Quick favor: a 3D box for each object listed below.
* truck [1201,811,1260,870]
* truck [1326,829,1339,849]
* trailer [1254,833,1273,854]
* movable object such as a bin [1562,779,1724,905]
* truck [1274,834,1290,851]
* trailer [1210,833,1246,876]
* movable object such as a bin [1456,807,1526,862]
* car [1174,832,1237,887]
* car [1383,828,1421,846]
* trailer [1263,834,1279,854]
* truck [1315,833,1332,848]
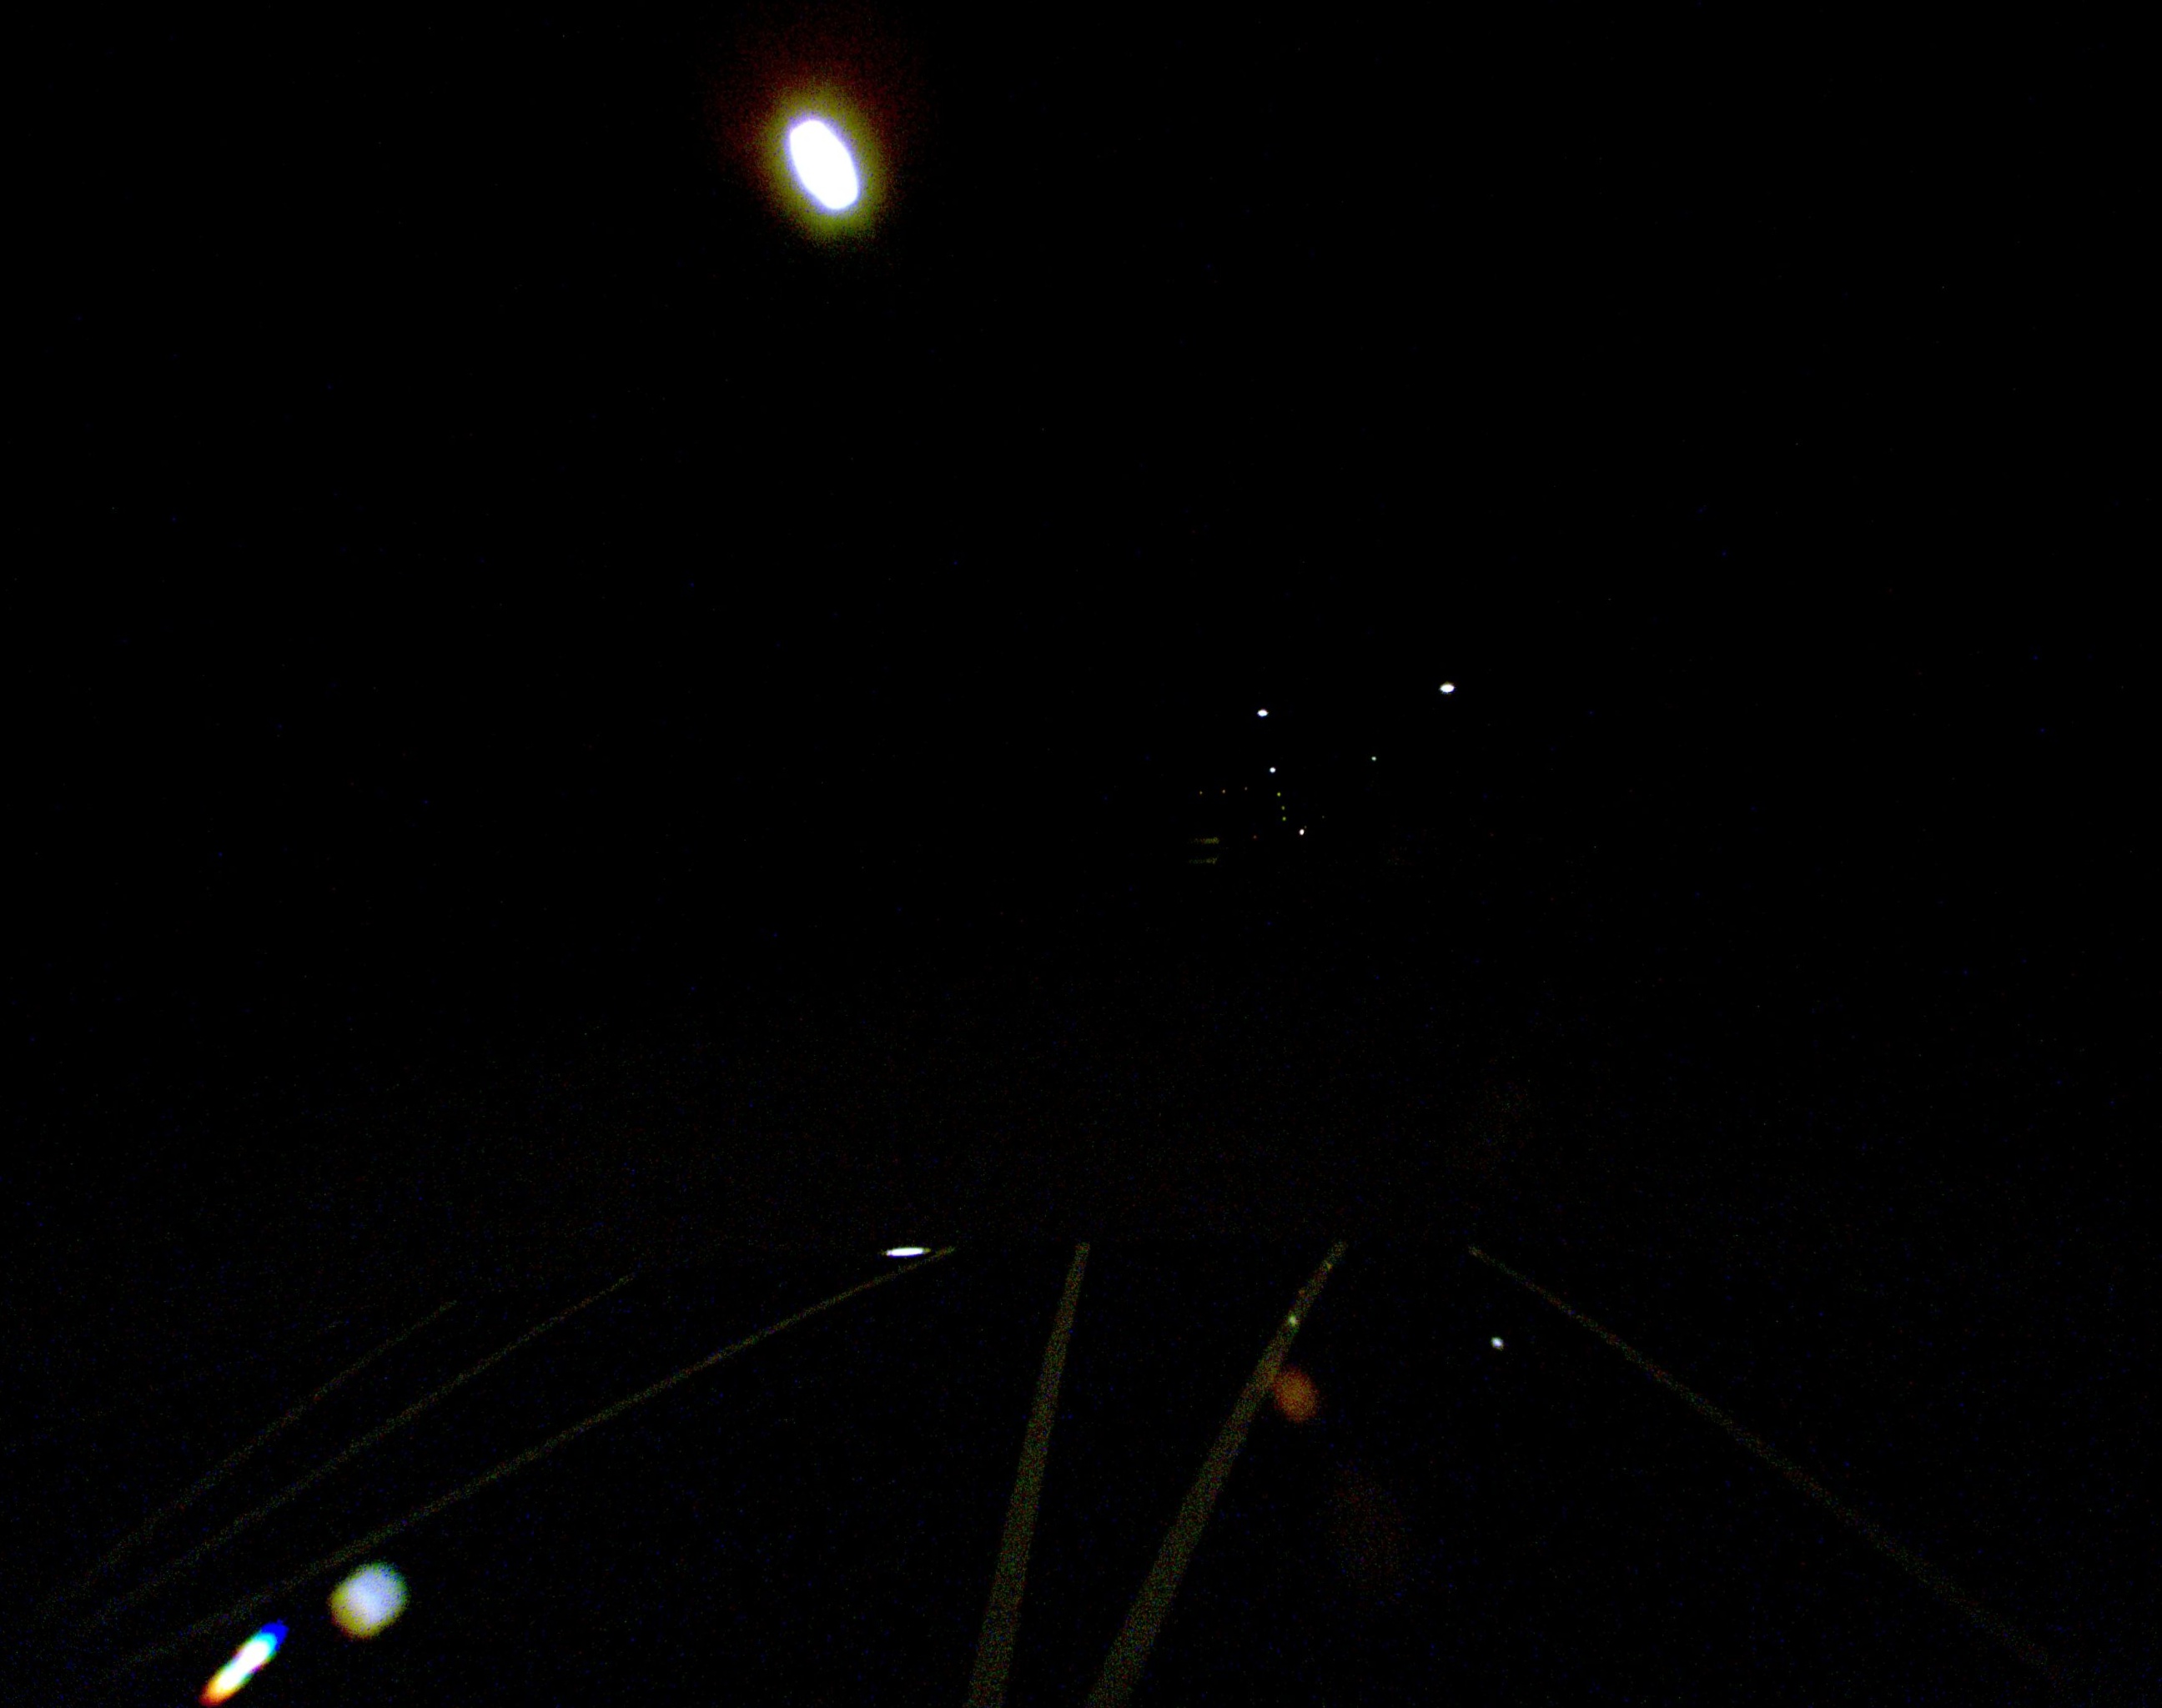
[{"bbox_3d":[11.385,-0.990,56.880,3.329,3.845,9.337,-5,0,16],"label":"truck"},{"bbox_3d":[58.464,-3.497,176.895,2.641,4.290,12.838,-2,1,18],"label":"truck"},{"bbox_3d":[24.872,-1.485,103.382,1.996,2.635,4.005,-5,-1,19],"label":"trailer"},{"bbox_3d":[13.422,-0.239,18.424,1.573,2.718,3.704,-1,0,9],"label":"movable object such as a bin"},{"bbox_3d":[49.389,-2.781,186.424,2.513,3.814,12.675,-5,-1,20],"label":"truck"},{"bbox_3d":[9.406,0.039,48.435,1.634,2.459,5.033,-5,-1,16],"label":"trailer"},{"bbox_3d":[19.271,-0.889,35.823,1.553,2.453,2.838,-3,1,-5],"label":"movable object such as a bin"},{"bbox_3d":[6.665,0.257,39.891,2.111,2.501,6.379,-5,-1,18],"label":"car"},{"bbox_3d":[44.044,-2.291,104.270,4.439,1.960,2.002,-5,-1,15],"label":"car"},{"bbox_3d":[34.403,-1.737,137.624,2.402,3.305,4.366,-5,-1,13],"label":"trailer"},{"bbox_3d":[65.033,-3.682,203.939,2.826,3.609,10.411,-5,-1,12],"label":"truck"}]
